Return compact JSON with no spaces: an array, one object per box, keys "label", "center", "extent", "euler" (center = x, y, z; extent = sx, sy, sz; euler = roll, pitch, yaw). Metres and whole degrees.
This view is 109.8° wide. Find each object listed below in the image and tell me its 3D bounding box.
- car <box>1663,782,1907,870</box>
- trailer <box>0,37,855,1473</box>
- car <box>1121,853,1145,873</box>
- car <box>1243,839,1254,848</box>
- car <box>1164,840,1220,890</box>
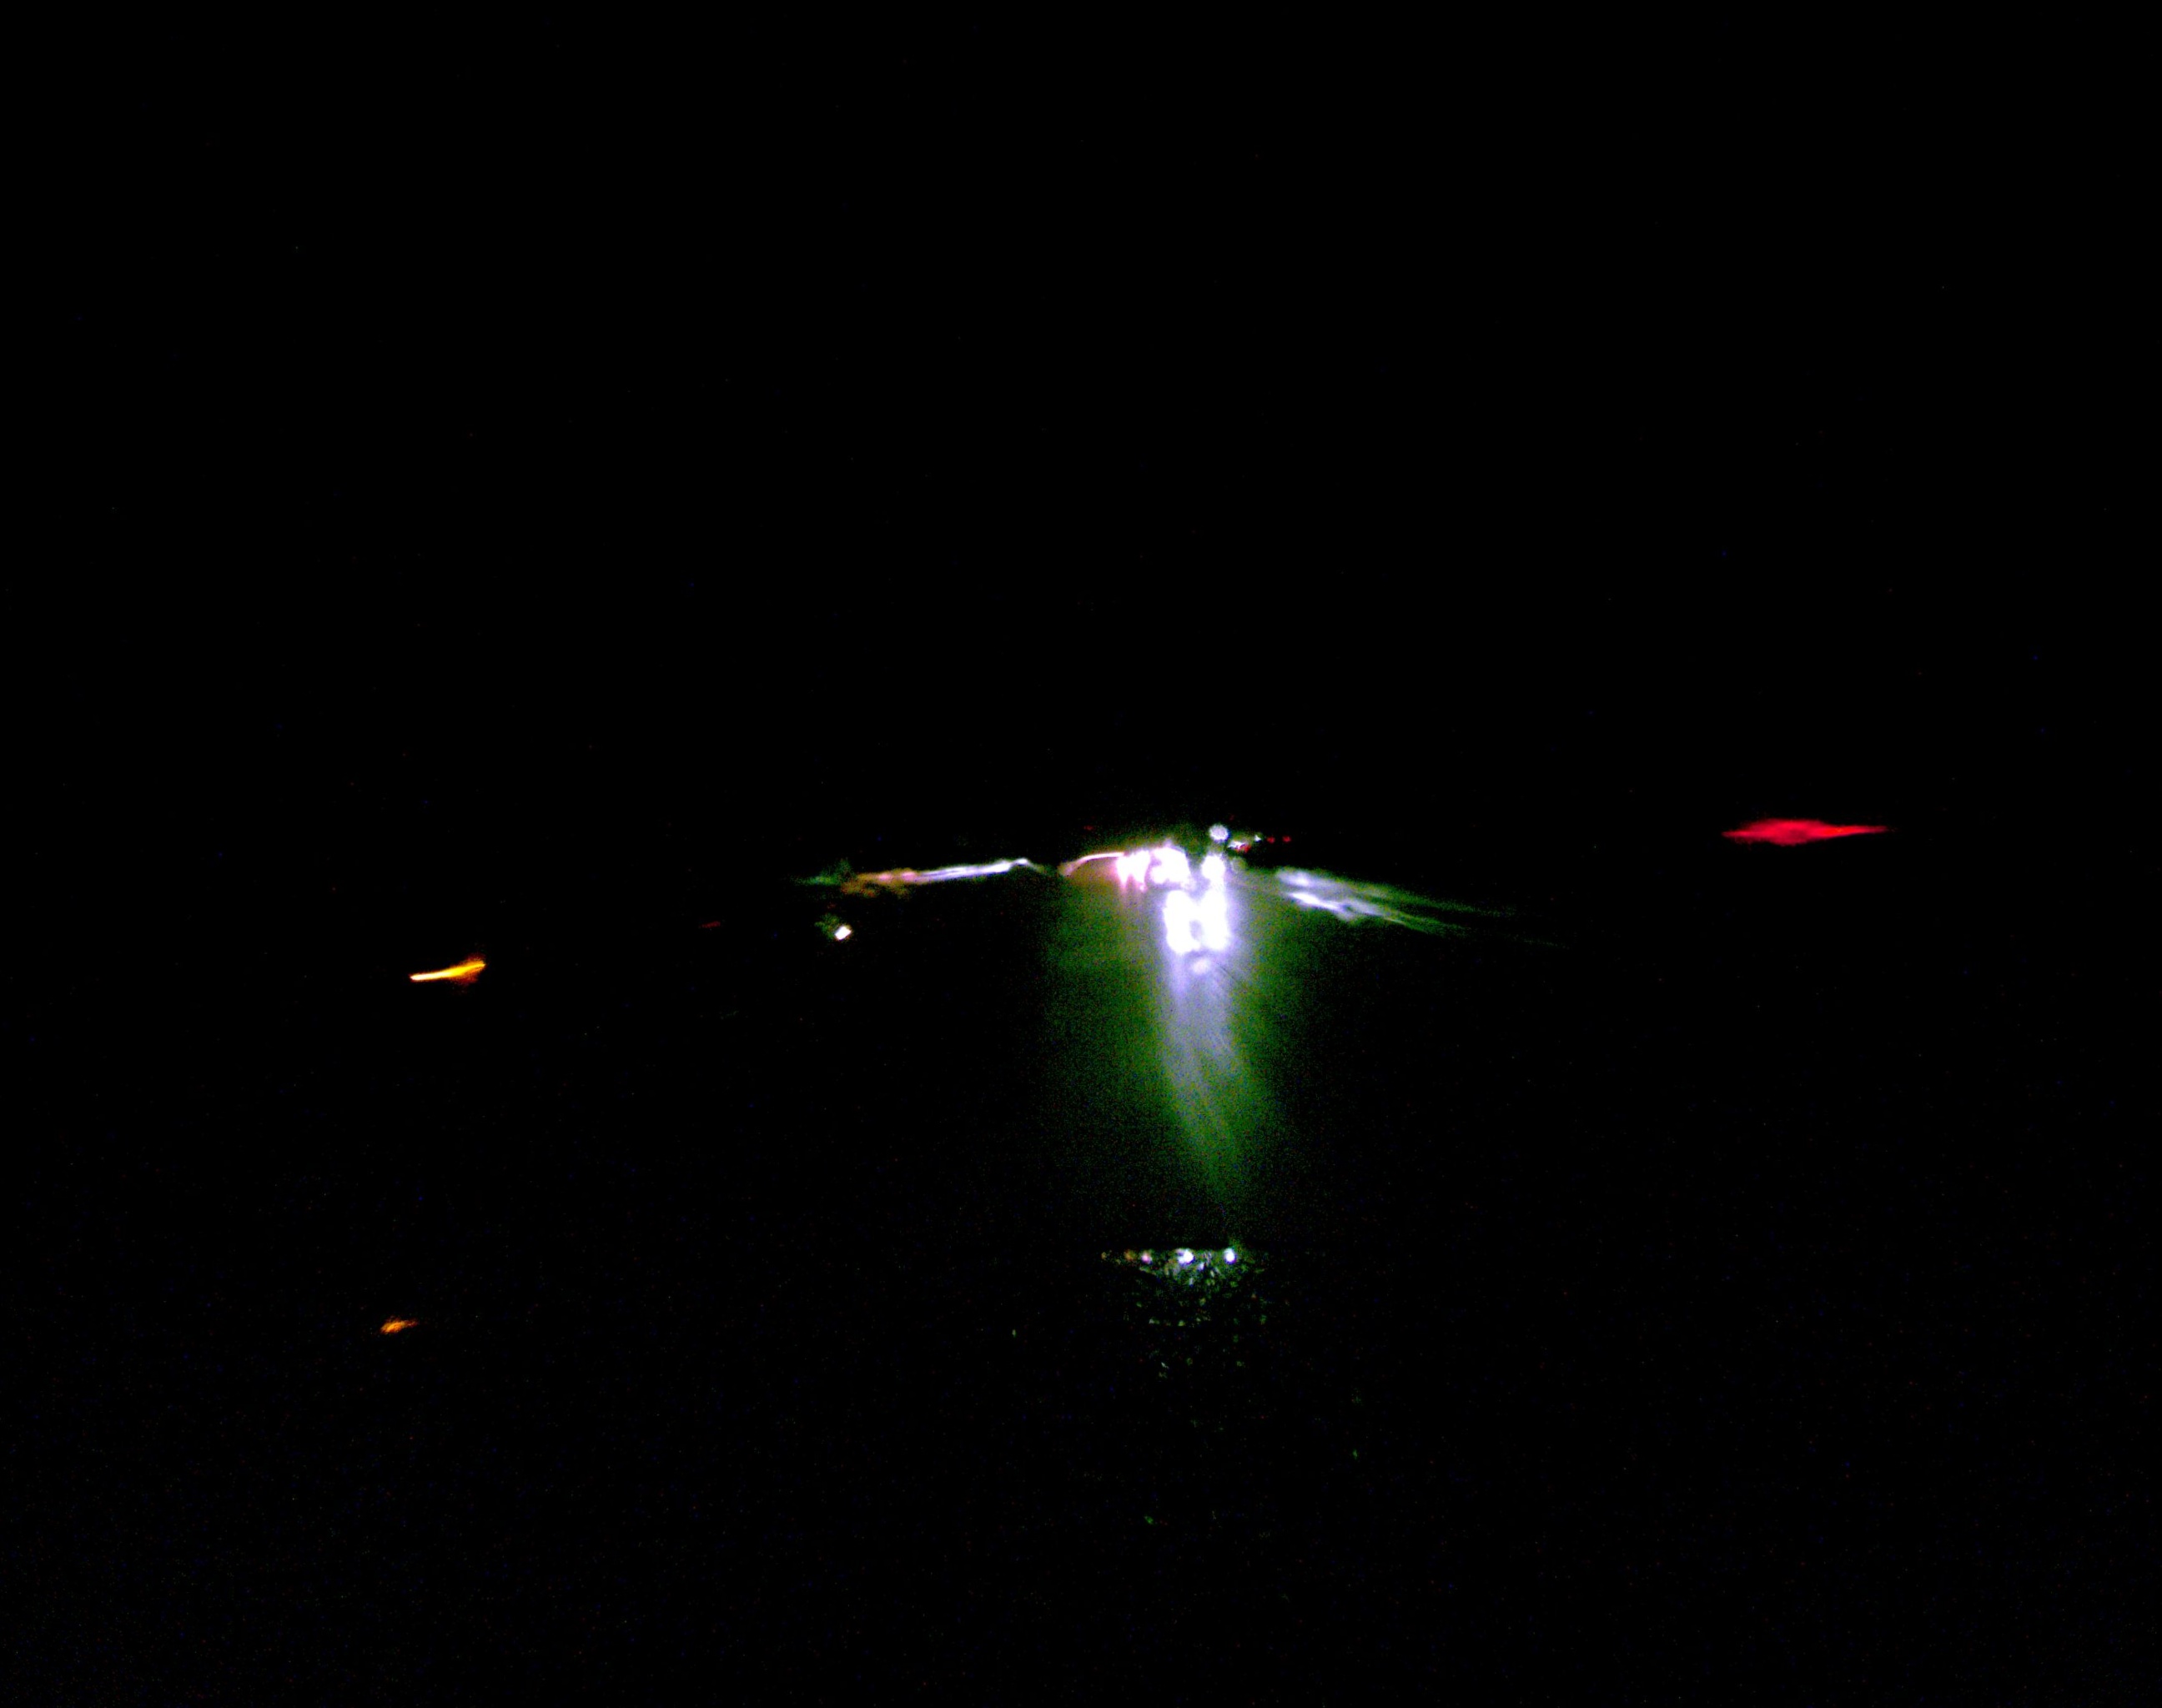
[{"label":"car","center":[16.485,-0.553,18.147],"extent":[1.998,1.676,4.001],"euler":[-6,-1,1]},{"label":"trailer","center":[-4.514,-0.284,3.293],"extent":[2.746,4.223,13.371],"euler":[-4,0,0]},{"label":"car","center":[4.961,0.839,72.240],"extent":[1.804,1.608,4.259],"euler":[-2,1,10]},{"label":"car","center":[39.387,-2.493,178.307],"extent":[1.998,1.841,4.003],"euler":[-6,-1,7]},{"label":"car","center":[5.045,0.503,35.005],"extent":[1.998,2.001,4.001],"euler":[-4,-1,2]}]
